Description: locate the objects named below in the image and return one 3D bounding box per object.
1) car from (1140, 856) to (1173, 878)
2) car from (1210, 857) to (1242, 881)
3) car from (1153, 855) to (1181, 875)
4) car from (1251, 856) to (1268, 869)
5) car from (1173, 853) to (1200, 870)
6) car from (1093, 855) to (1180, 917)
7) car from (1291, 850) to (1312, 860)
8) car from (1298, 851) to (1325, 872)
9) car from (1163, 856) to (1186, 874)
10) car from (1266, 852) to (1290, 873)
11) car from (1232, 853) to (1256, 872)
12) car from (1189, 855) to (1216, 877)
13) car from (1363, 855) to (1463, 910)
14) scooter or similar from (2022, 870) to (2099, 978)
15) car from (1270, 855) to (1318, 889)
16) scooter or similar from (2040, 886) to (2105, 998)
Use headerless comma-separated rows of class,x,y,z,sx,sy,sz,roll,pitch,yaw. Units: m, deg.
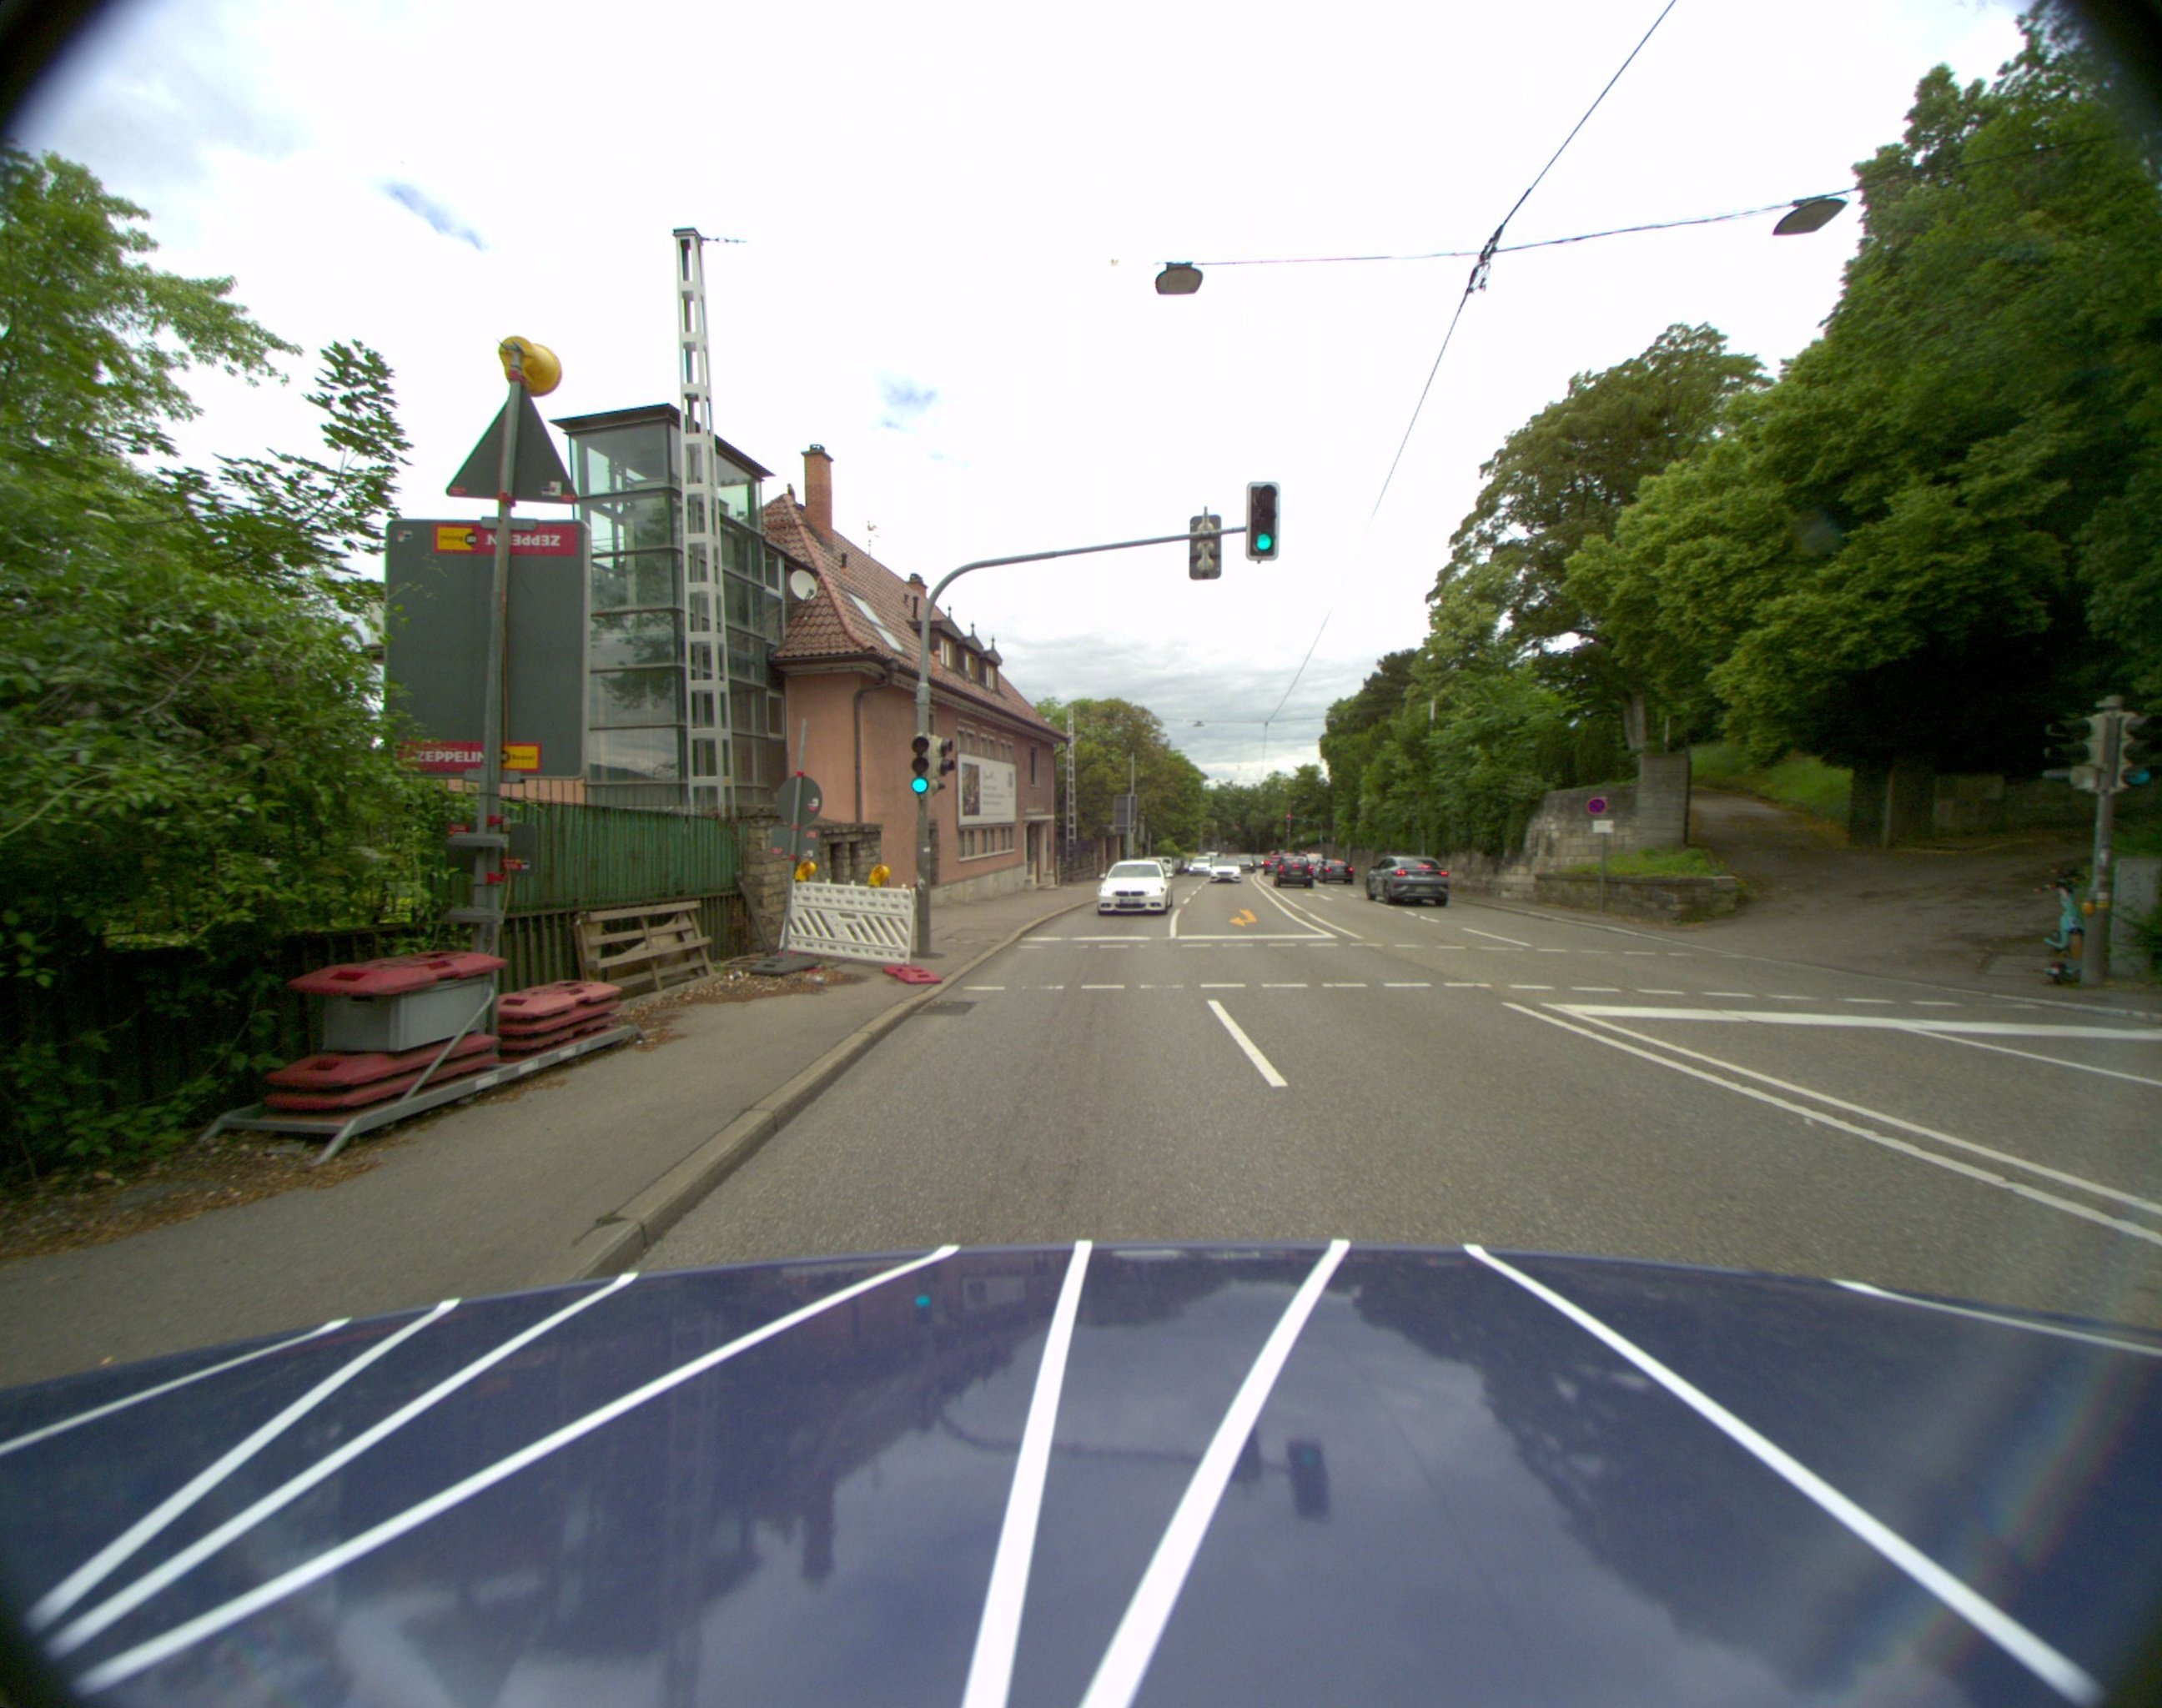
car,5.401,0.879,53.619,1.677,1.453,4.370,2,1,14
car,8.668,0.896,45.645,1.801,1.382,3.530,1,0,10
car,6.724,0.825,59.284,1.717,1.463,4.042,1,0,13
car,20.636,0.971,87.655,1.833,1.369,4.004,0,0,13
car,9.991,0.682,71.630,1.772,1.391,4.556,2,1,17
car,1.699,0.818,21.520,1.821,1.463,4.788,0,1,12
car,32.151,0.079,110.857,1.847,1.401,4.455,1,1,1
car,21.584,0.702,71.242,1.896,1.837,4.400,1,1,11
car,8.243,0.913,66.780,1.563,1.414,3.428,3,2,14
car,16.472,0.694,63.639,1.851,1.622,4.365,0,0,13
car,15.206,0.786,71.021,1.957,1.730,4.003,0,0,8
car,10.005,0.966,62.838,1.957,1.761,4.002,0,0,5
car,11.010,0.872,25.541,1.997,1.598,4.480,2,0,10
scooter or similar,13.491,0.928,10.486,0.433,1.231,1.351,-4,4,45
car,10.689,0.872,38.347,1.758,1.557,3.681,1,0,7
scooter or similar,12.385,1.065,9.502,1.100,1.230,0.433,-5,1,-38
